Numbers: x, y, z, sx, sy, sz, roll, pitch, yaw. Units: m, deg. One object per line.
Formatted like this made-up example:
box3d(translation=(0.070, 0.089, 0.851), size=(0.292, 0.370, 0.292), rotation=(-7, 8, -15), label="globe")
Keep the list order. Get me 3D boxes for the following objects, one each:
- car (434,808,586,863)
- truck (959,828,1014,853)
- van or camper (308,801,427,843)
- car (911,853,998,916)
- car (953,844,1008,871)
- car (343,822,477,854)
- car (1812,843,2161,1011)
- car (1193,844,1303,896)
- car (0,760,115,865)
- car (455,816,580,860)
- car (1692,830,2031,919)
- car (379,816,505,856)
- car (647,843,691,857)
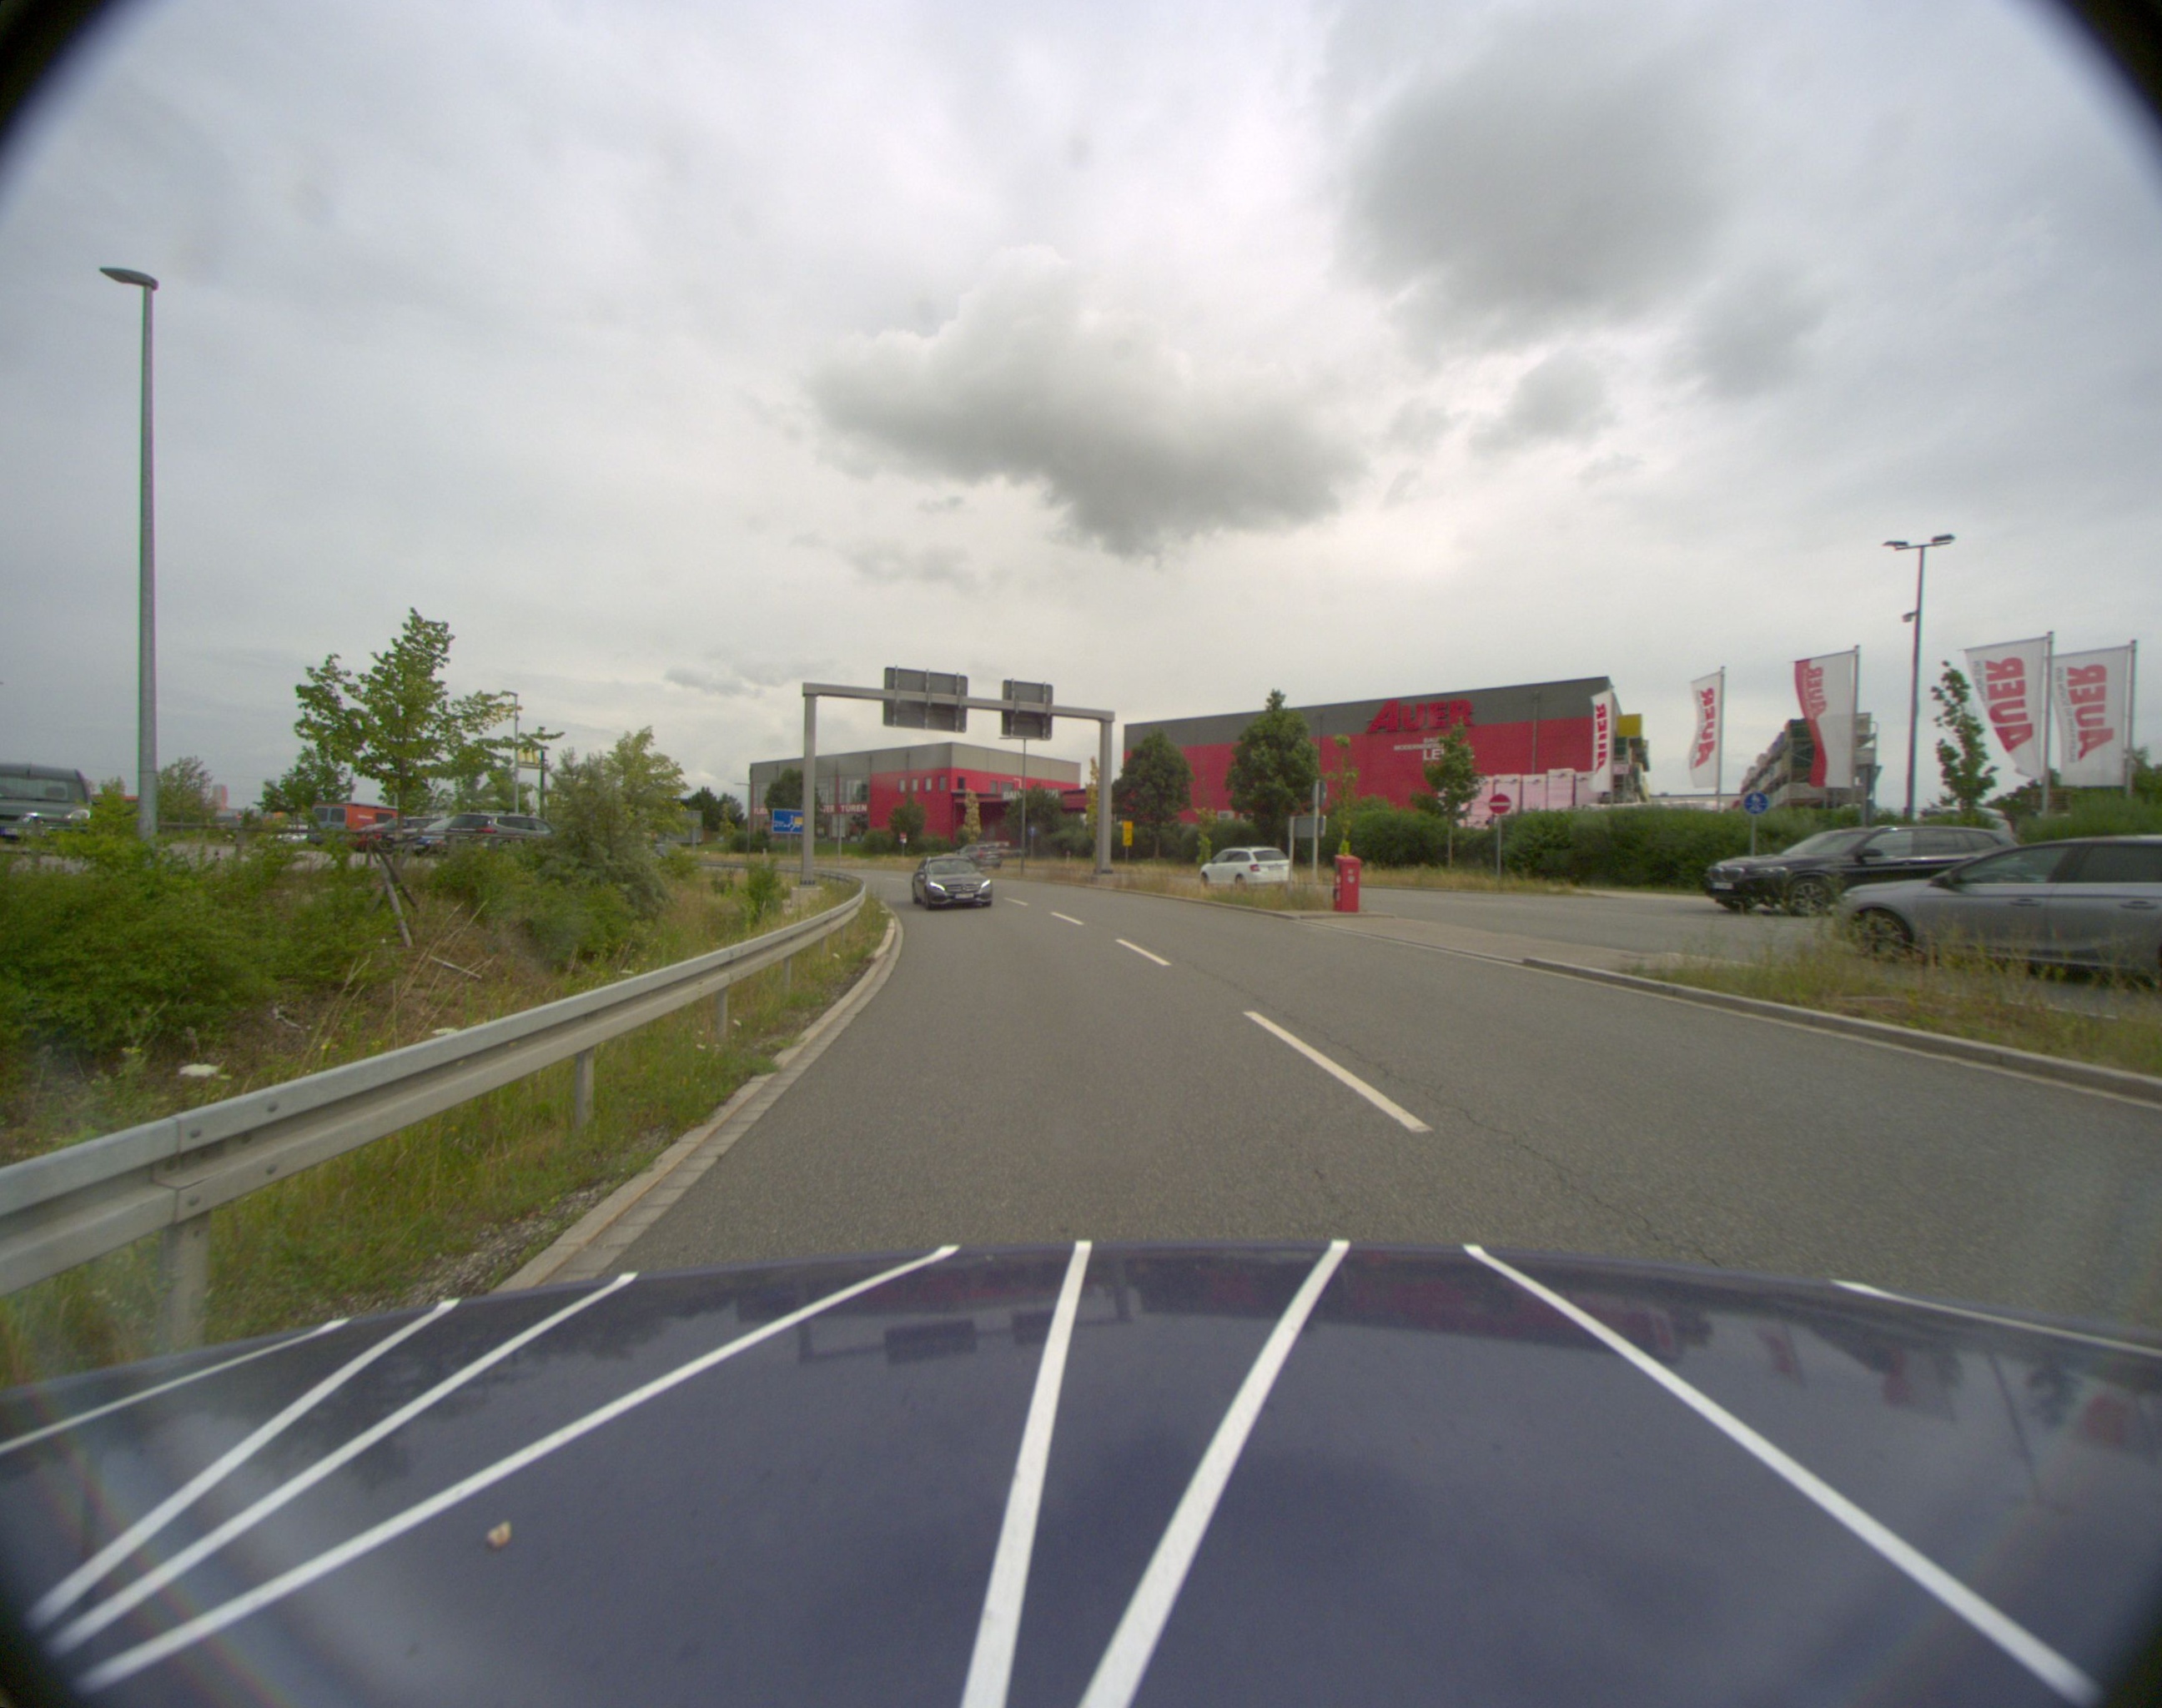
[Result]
box3d(translation=(-19.955, -0.689, 26.818), size=(1.802, 1.773, 4.169), rotation=(-1, 2, 7), label="car")
box3d(translation=(-9.791, -1.426, 78.804), size=(5.889, 2.474, 2.044), rotation=(1, 2, 37), label="truck")
box3d(translation=(-36.213, -1.583, 38.763), size=(1.813, 1.986, 4.673), rotation=(0, 1, -4), label="van or camper")
box3d(translation=(-3.805, 0.792, 22.246), size=(1.908, 1.489, 4.331), rotation=(-3, 2, -17), label="car")
box3d(translation=(-6.597, 0.212, 49.628), size=(1.818, 1.620, 4.675), rotation=(-3, 2, -30), label="car")
box3d(translation=(-31.324, -0.752, 35.687), size=(1.701, 1.392, 4.592), rotation=(1, 1, 12), label="car")
box3d(translation=(10.229, 0.636, 7.722), size=(1.463, 1.477, 4.093), rotation=(-1, 1, -4), label="car")
box3d(translation=(5.590, 0.487, 26.016), size=(1.722, 1.625, 4.259), rotation=(1, 0, -19), label="car")
box3d(translation=(-20.244, -0.767, 14.701), size=(3.958, 1.800, 1.709), rotation=(1, -1, 36), label="car")
box3d(translation=(-22.536, -0.682, 30.566), size=(1.515, 1.644, 3.738), rotation=(-1, 3, 20), label="car")
box3d(translation=(14.542, 0.355, 14.409), size=(4.250, 1.541, 1.874), rotation=(0, 1, 6), label="car")
box3d(translation=(-26.762, -0.694, 31.969), size=(1.689, 1.509, 3.799), rotation=(0, -1, 12), label="car")
box3d(translation=(-44.414, -0.445, 81.898), size=(4.958, 1.439, 1.800), rotation=(0, 4, 31), label="car")
